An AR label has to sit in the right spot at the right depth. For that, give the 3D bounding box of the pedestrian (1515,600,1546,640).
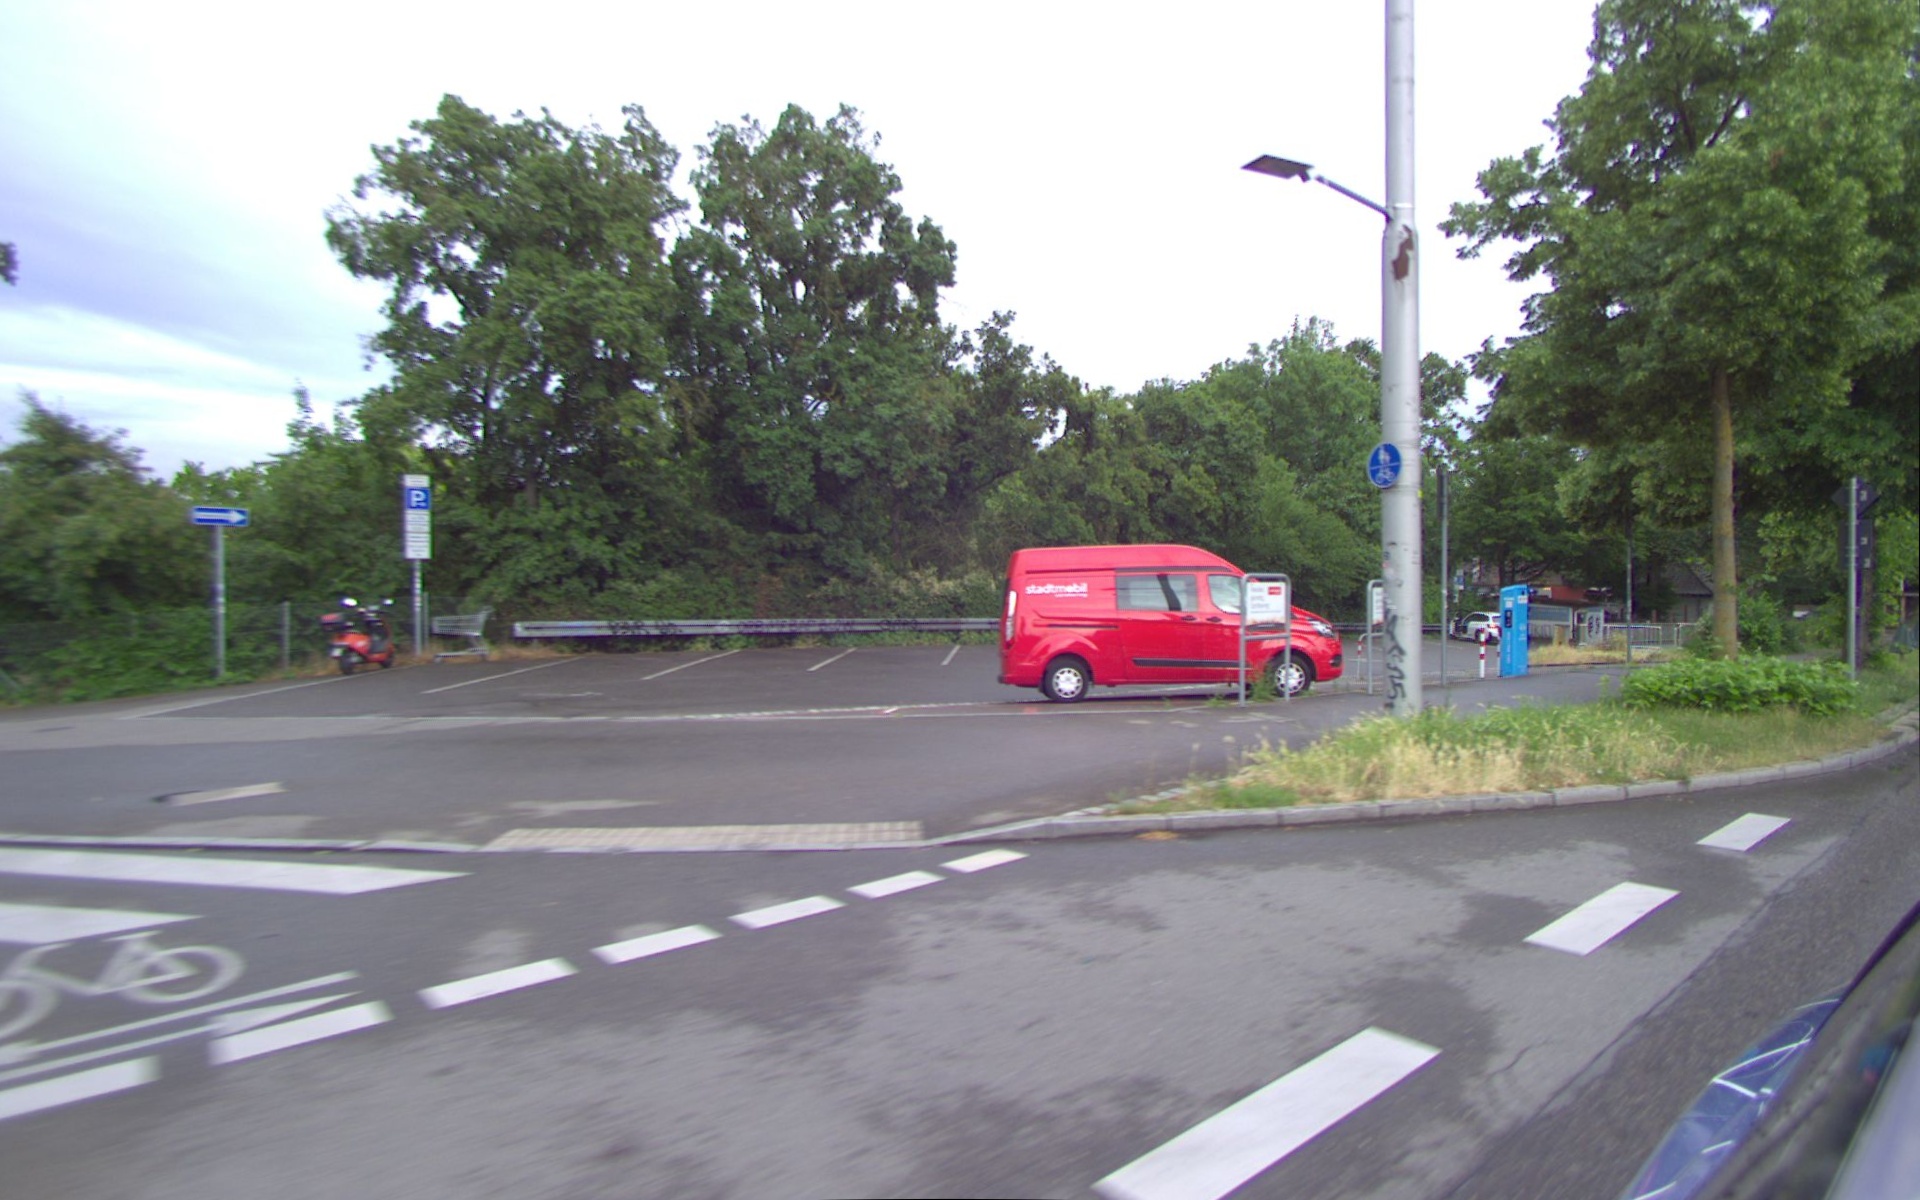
[{"bbox_3d":[26.438,0.914,46.944,0.881,1.793,0.942,2,1,6],"label":"pedestrian"}]

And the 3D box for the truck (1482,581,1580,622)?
[{"bbox_3d":[42.136,0.128,74.687,6.468,2.904,2.064,1,0,-12],"label":"truck"}]

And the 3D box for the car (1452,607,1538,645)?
[{"bbox_3d":[24.674,1.173,46.851,1.966,1.599,4.642,0,0,7],"label":"car"}]

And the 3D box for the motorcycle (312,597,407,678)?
[{"bbox_3d":[-10.633,0.626,18.002,0.464,1.228,2.027,-4,3,-2],"label":"motorcycle"}]

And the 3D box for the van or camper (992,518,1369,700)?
[{"bbox_3d":[3.184,0.186,15.659,5.292,2.438,2.039,-2,-3,2],"label":"van or camper"}]
